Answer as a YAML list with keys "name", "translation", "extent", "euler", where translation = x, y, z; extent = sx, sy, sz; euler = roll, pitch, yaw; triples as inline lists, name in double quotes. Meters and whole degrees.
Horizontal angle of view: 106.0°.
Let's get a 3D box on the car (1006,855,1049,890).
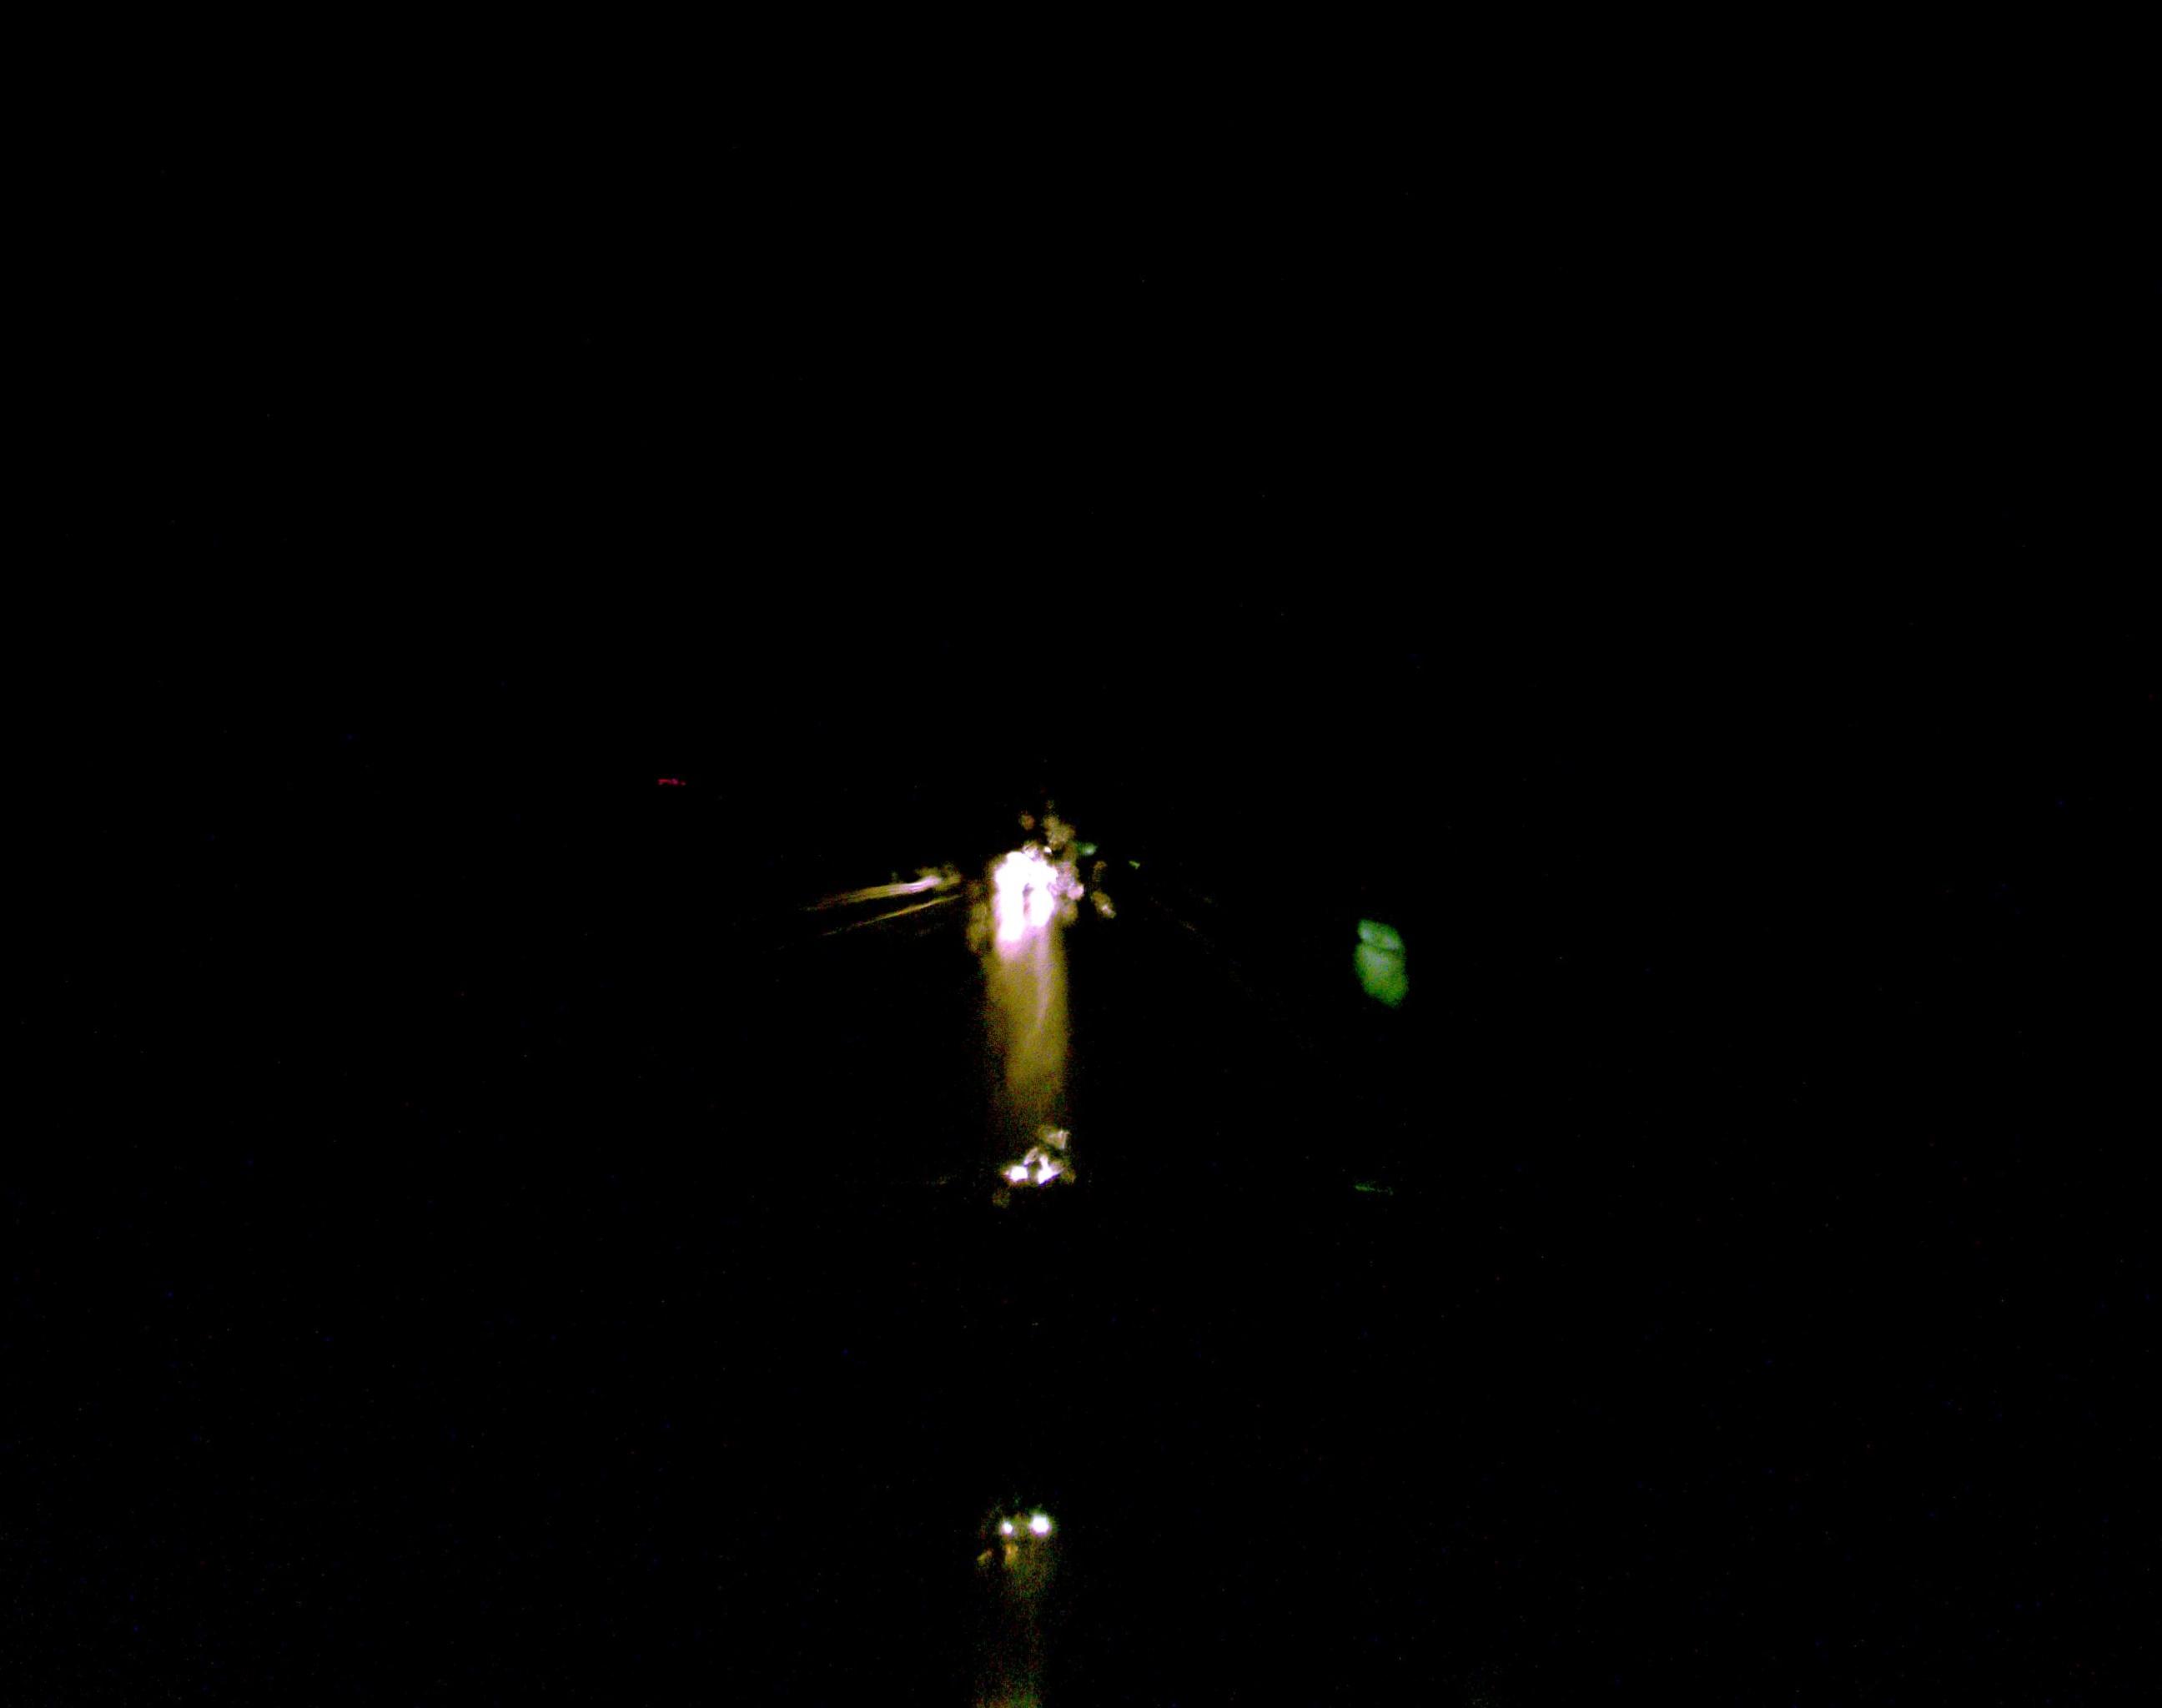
- name: "car"
  translation: [-2.697, 0.905, 41.739]
  extent: [1.915, 1.646, 4.024]
  euler: [-1, 0, -1]
